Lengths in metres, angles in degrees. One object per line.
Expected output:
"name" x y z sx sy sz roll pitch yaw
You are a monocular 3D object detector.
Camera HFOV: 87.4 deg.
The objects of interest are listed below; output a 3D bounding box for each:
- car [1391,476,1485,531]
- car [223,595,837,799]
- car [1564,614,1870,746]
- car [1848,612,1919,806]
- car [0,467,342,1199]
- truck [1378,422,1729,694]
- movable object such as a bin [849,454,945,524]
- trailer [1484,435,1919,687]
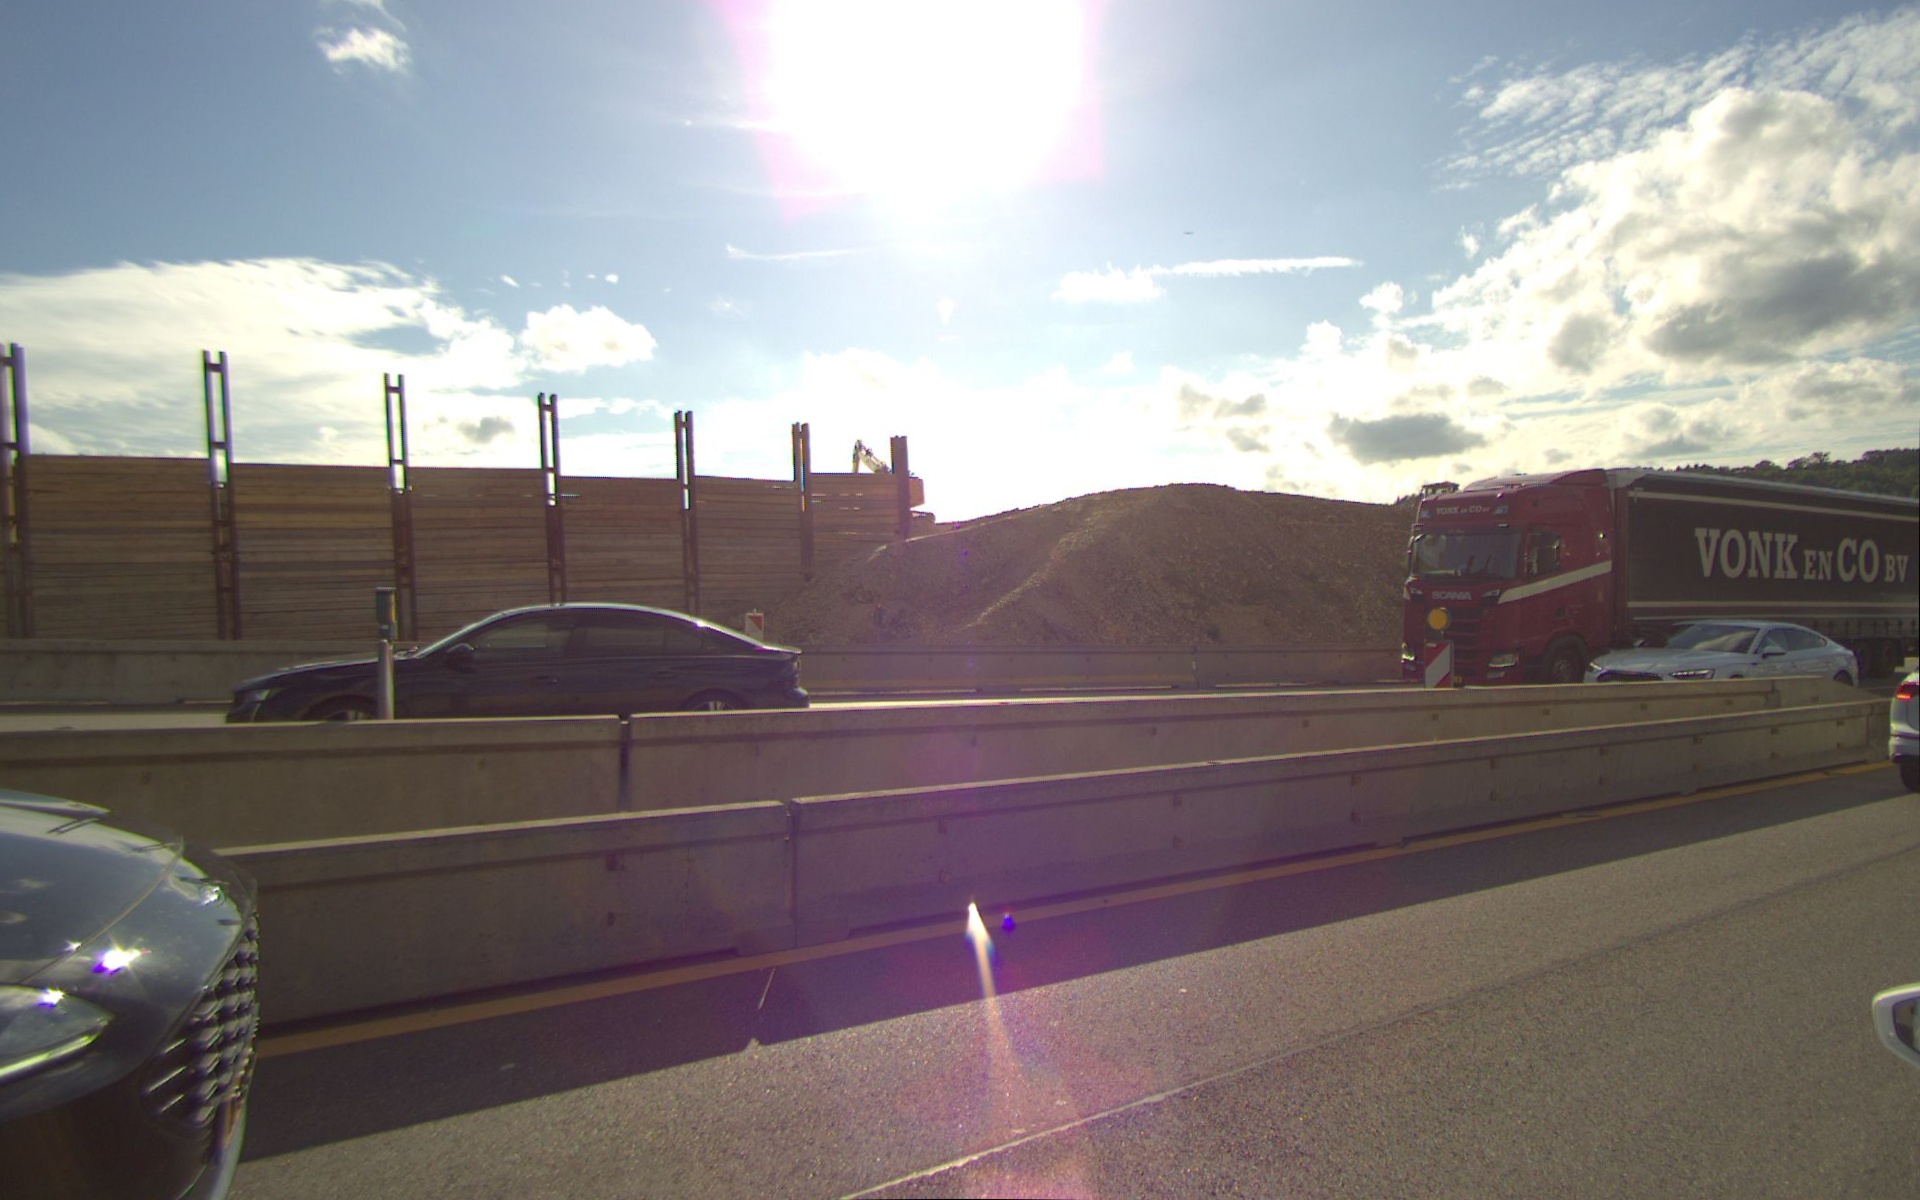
"car" 25.865 -5.148 54.304 5.261 2.167 1.984 3 -6 -31
"car" -3.542 0.727 8.958 4.547 1.459 1.817 1 0 -23
"car" 11.237 1.095 14.871 4.446 1.670 1.838 1 0 -27
"car" 9.661 0.886 8.599 4.463 1.511 1.761 1 0 -30
"car" -3.196 0.600 0.933 4.330 1.563 1.792 1 0 -29
"truck" 11.361 -0.675 19.182 6.208 4.446 2.902 1 1 -29
"movable object such as a bin" -3.899 -6.581 60.874 4.440 3.314 5.742 3 0 -18
"trailer" 17.521 -0.633 22.418 13.640 4.482 2.965 1 1 -28
